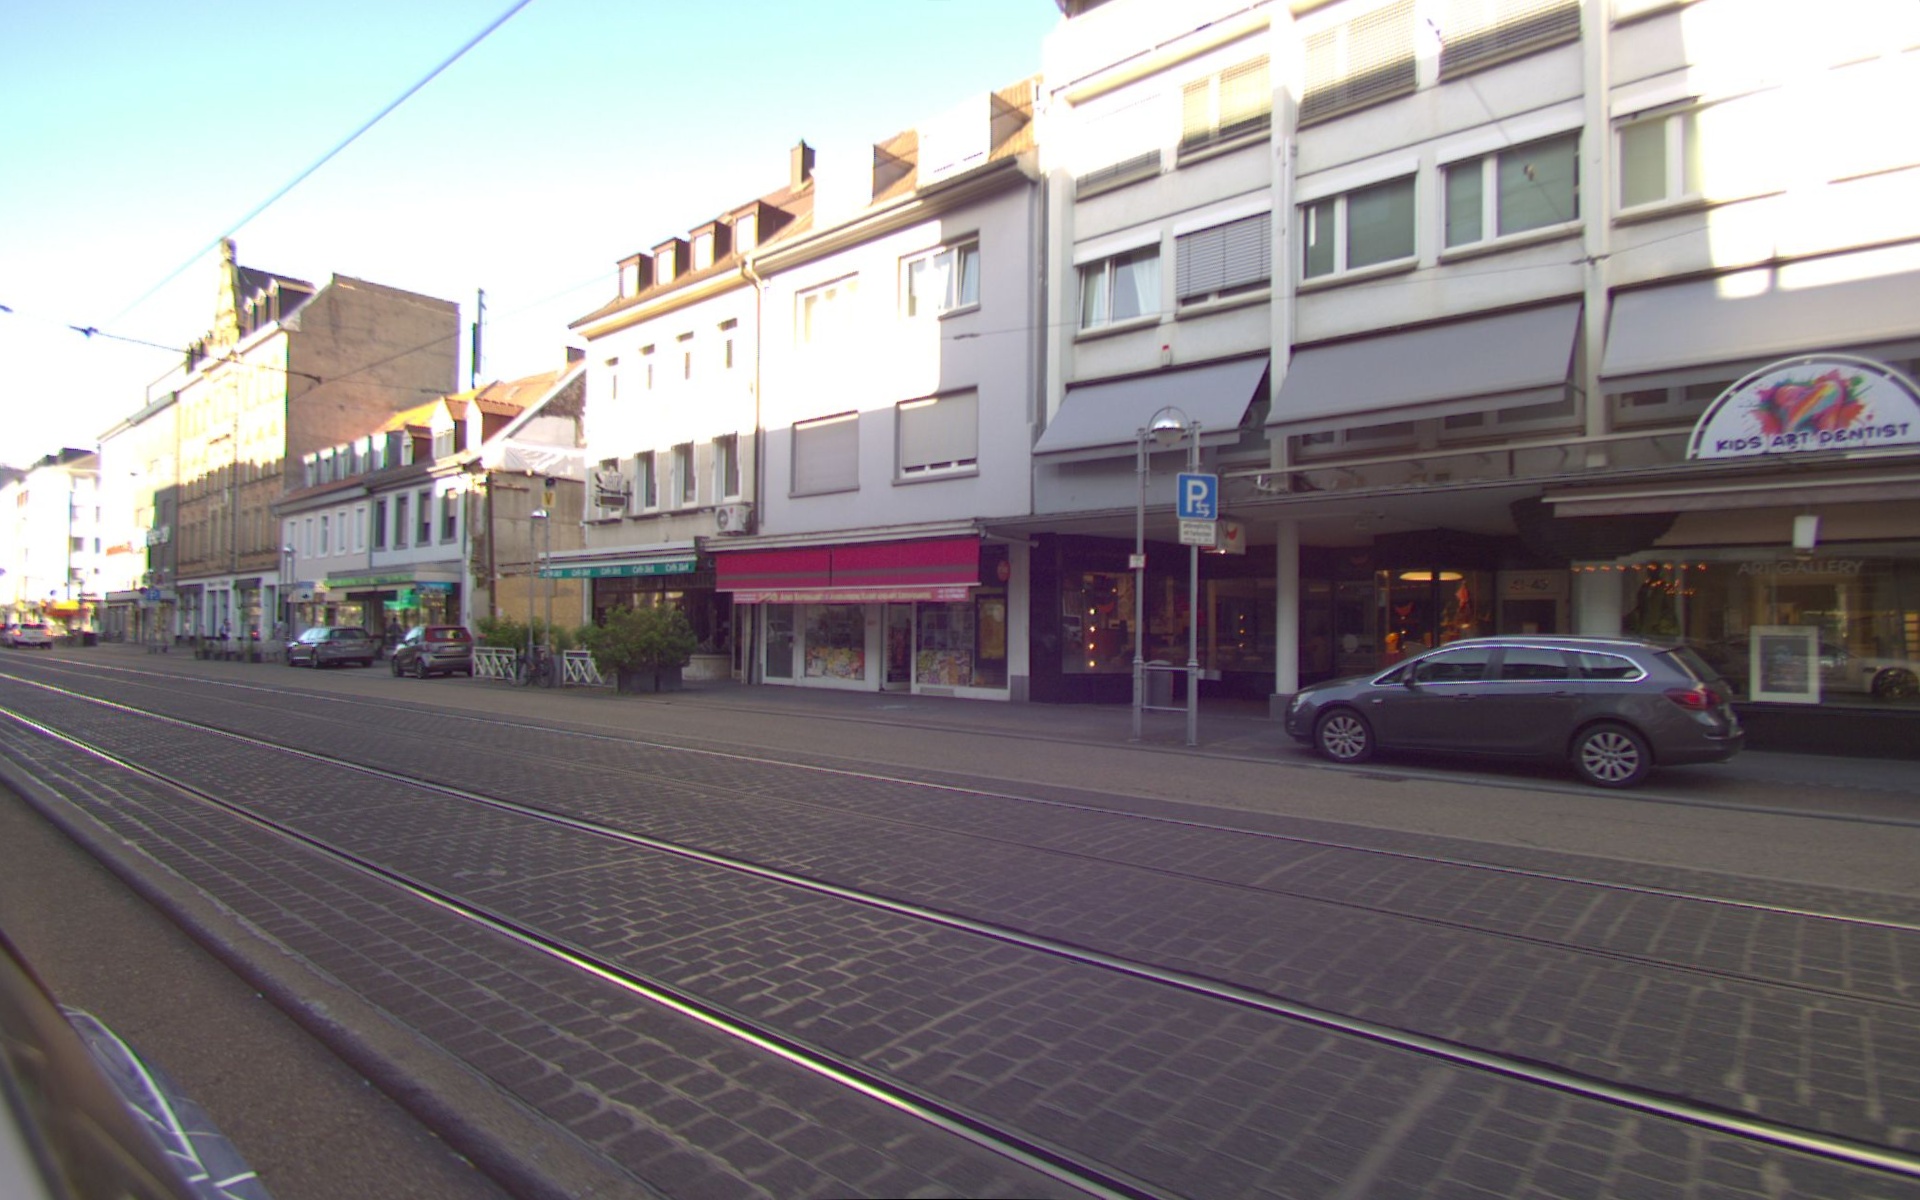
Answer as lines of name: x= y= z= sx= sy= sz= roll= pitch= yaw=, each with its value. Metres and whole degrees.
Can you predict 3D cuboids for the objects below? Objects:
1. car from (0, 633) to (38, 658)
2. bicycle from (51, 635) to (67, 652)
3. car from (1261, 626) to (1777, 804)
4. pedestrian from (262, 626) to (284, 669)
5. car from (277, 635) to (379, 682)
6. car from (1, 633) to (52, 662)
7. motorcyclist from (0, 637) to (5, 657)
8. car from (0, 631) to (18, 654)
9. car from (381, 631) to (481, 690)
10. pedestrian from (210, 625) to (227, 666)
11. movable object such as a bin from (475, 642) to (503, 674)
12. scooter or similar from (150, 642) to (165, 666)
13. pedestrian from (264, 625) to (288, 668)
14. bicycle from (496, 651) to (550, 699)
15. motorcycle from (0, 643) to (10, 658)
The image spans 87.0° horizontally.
car: x=-60.682 y=2.914 z=64.967 sx=3.998 sy=1.542 sz=1.645 roll=-1 pitch=-3 yaw=41
bicycle: x=-65.605 y=3.161 z=73.703 sx=2.099 sy=1.157 sz=0.603 roll=-1 pitch=0 yaw=41
car: x=6.075 y=1.102 z=11.441 sx=4.850 sy=1.535 sz=1.719 roll=-1 pitch=0 yaw=42
pedestrian: x=-29.835 y=2.059 z=43.979 sx=0.647 sy=1.863 sz=0.583 roll=-1 pitch=0 yaw=-19
car: x=-22.805 y=2.039 z=36.434 sx=4.760 sy=1.526 sz=1.798 roll=-1 pitch=-2 yaw=41
car: x=-55.787 y=2.840 z=60.461 sx=3.674 sy=1.647 sz=1.779 roll=-1 pitch=-3 yaw=41
motorcyclist: x=-64.511 y=3.132 z=67.866 sx=0.655 sy=1.313 sz=0.533 roll=-1 pitch=-4 yaw=41
car: x=-67.925 y=2.990 z=71.432 sx=3.998 sy=1.542 sz=1.645 roll=-1 pitch=-3 yaw=41
car: x=-15.747 y=1.756 z=30.097 sx=2.889 sy=1.616 sz=1.679 roll=-1 pitch=-1 yaw=41
pedestrian: x=-33.843 y=2.070 z=46.190 sx=0.572 sy=1.819 sz=0.660 roll=-1 pitch=0 yaw=-38
movable object such as a bin: x=-16.891 y=2.069 z=36.284 sx=0.696 sy=1.102 sz=0.653 roll=-1 pitch=0 yaw=40
scooter or similar: x=-42.668 y=2.847 z=53.795 sx=1.201 sy=1.232 sz=0.399 roll=-1 pitch=0 yaw=41
pedestrian: x=-29.203 y=1.975 z=43.227 sx=0.580 sy=1.775 sz=0.651 roll=-1 pitch=0 yaw=33
bicycle: x=-10.789 y=1.828 z=24.962 sx=1.715 sy=1.098 sz=0.513 roll=-1 pitch=0 yaw=41
motorcycle: x=-64.481 y=3.398 z=67.882 sx=1.934 sy=1.000 sz=0.895 roll=-1 pitch=-3 yaw=41
